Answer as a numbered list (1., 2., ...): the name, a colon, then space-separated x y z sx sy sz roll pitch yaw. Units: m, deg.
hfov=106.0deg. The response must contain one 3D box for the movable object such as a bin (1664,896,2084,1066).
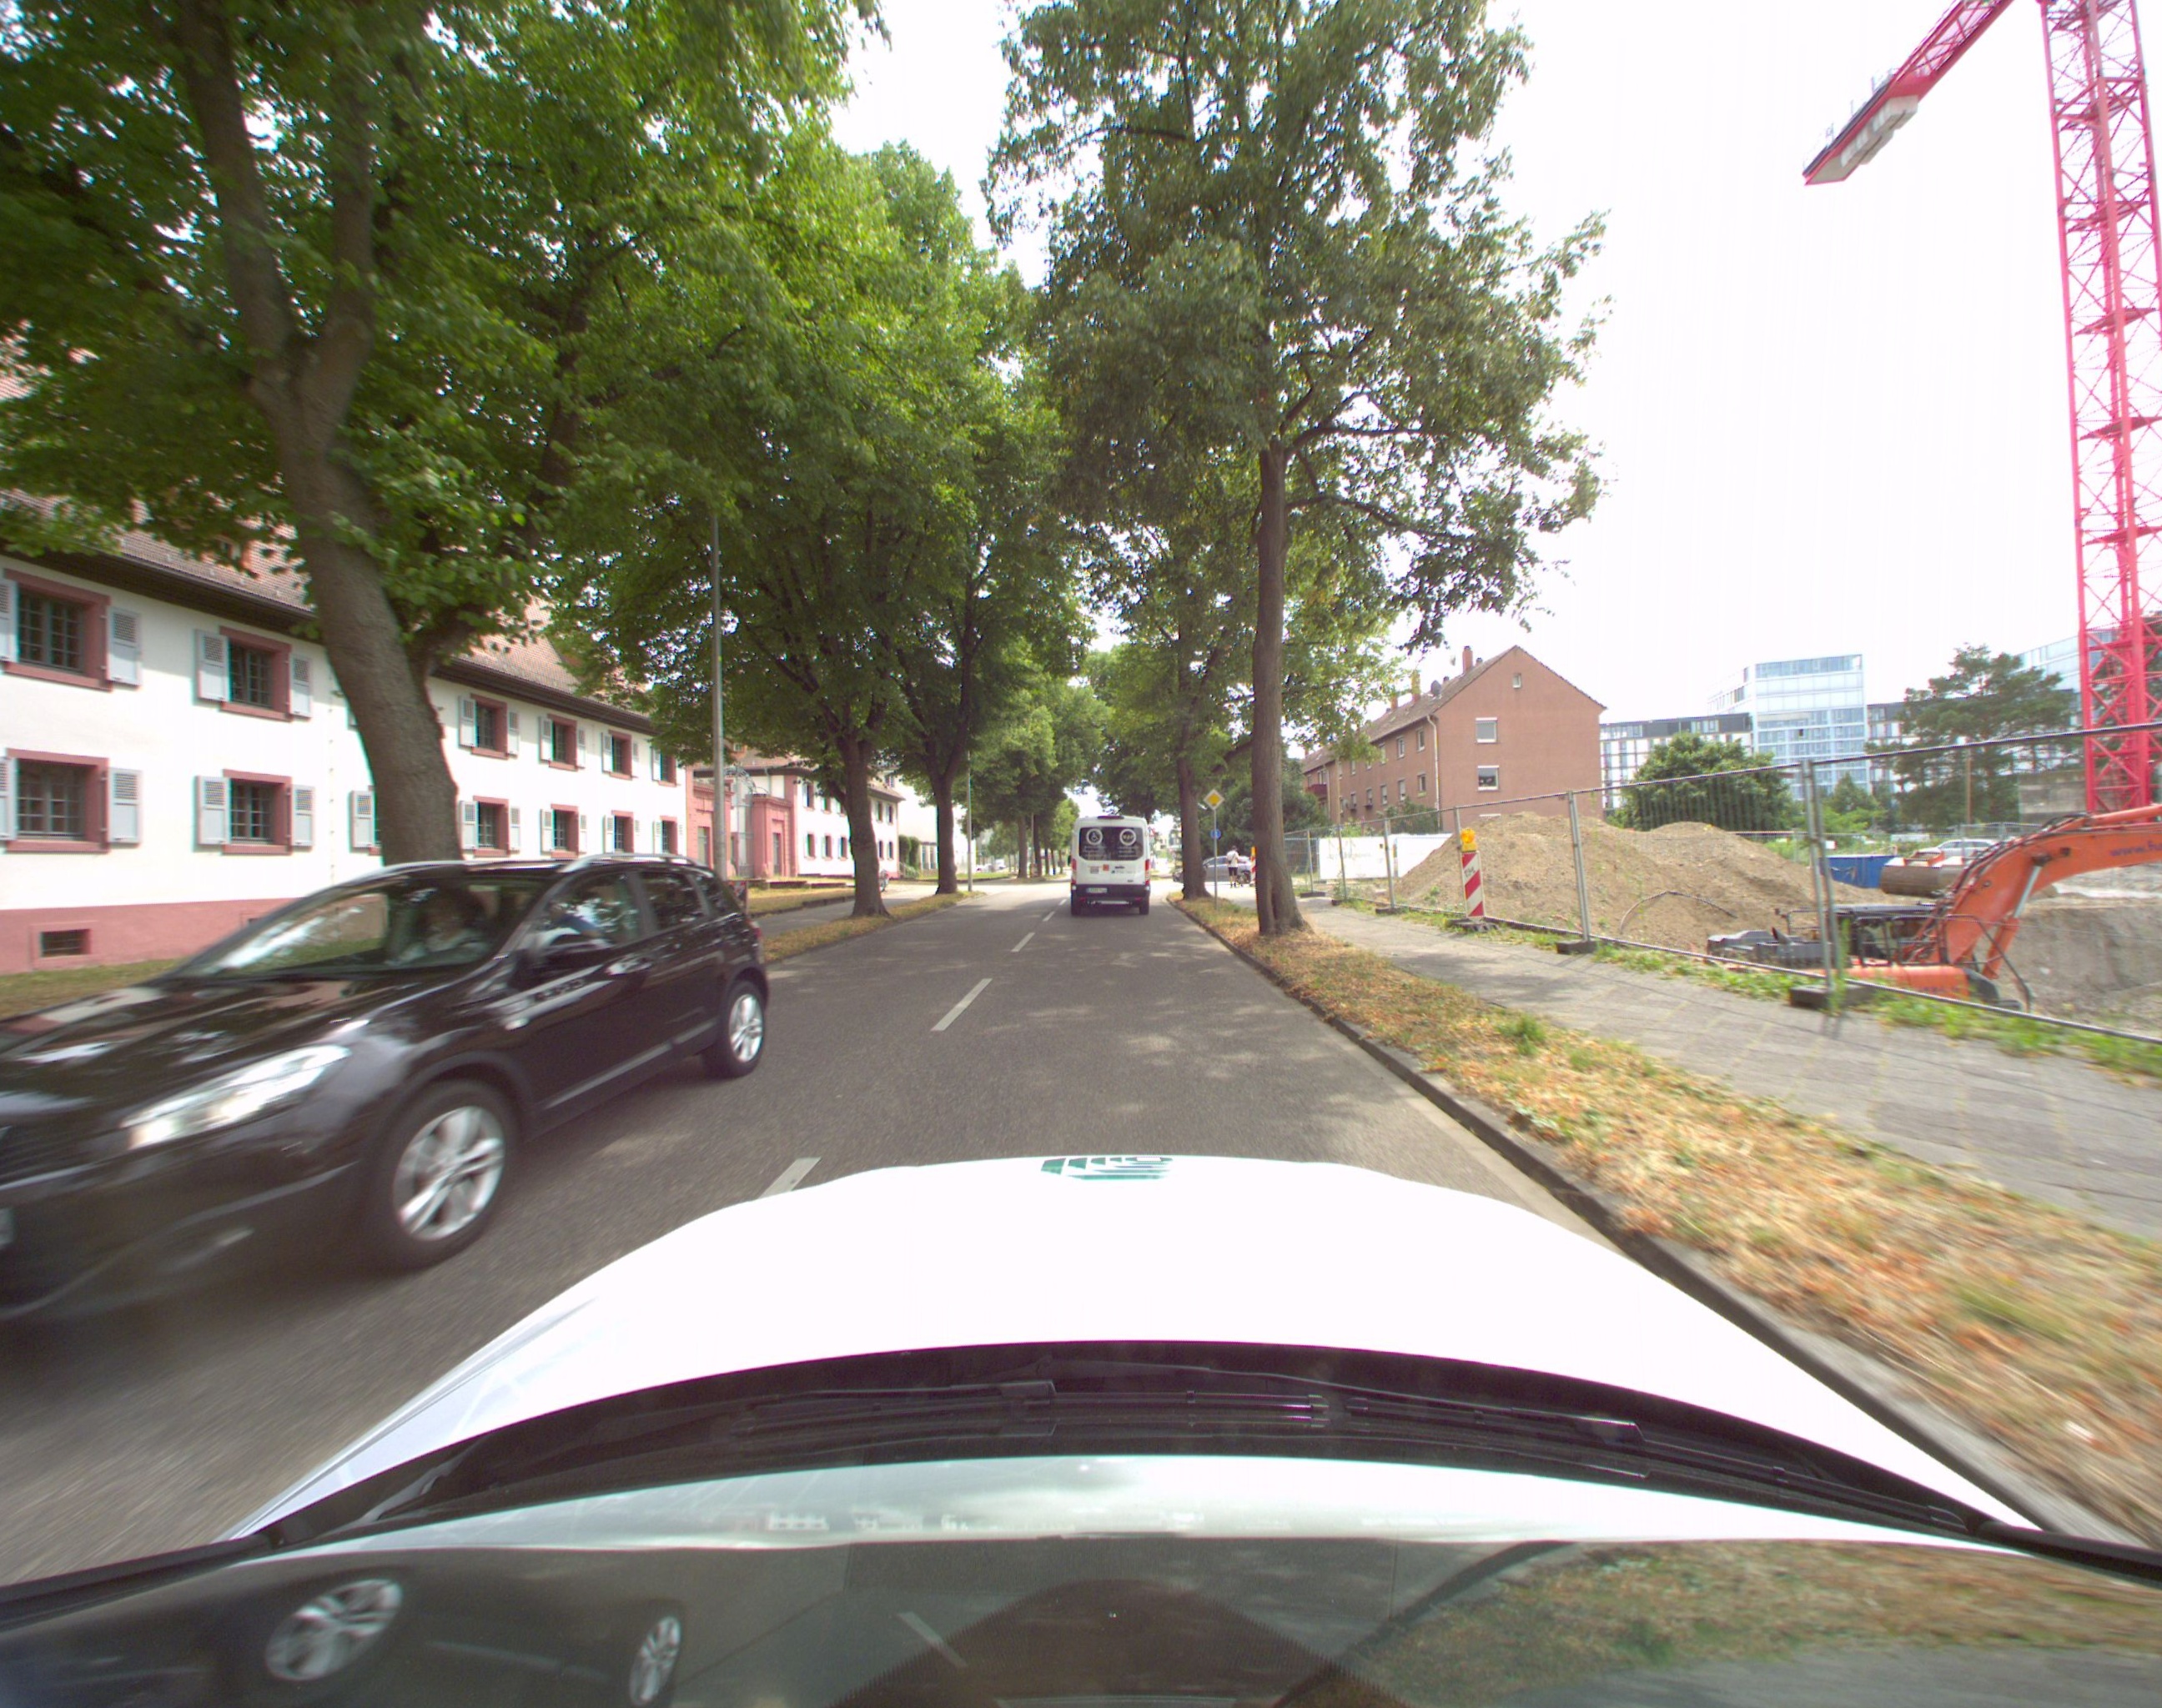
1. movable object such as a bin: 14.417 2.273 15.376 4.647 2.590 3.146 -3 -1 16

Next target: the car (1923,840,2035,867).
1. car: 50.957 -0.072 46.338 1.712 1.416 4.206 -2 1 -2

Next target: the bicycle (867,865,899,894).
1. bicycle: -8.375 1.061 34.532 0.720 1.095 2.226 2 0 2

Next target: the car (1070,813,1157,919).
1. car: 0.769 0.254 21.740 2.057 2.539 3.998 -1 1 -1

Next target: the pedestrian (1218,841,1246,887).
1. pedestrian: 6.209 0.394 33.500 0.875 1.814 0.893 -3 -1 20

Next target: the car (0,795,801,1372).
1. car: -3.270 0.712 4.530 1.765 1.659 4.258 -3 0 2

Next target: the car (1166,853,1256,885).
1. car: 6.615 0.788 41.753 4.353 1.443 2.012 -2 -3 3

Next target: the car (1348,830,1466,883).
1. car: 17.697 0.093 44.450 5.449 2.632 2.338 -2 1 3
